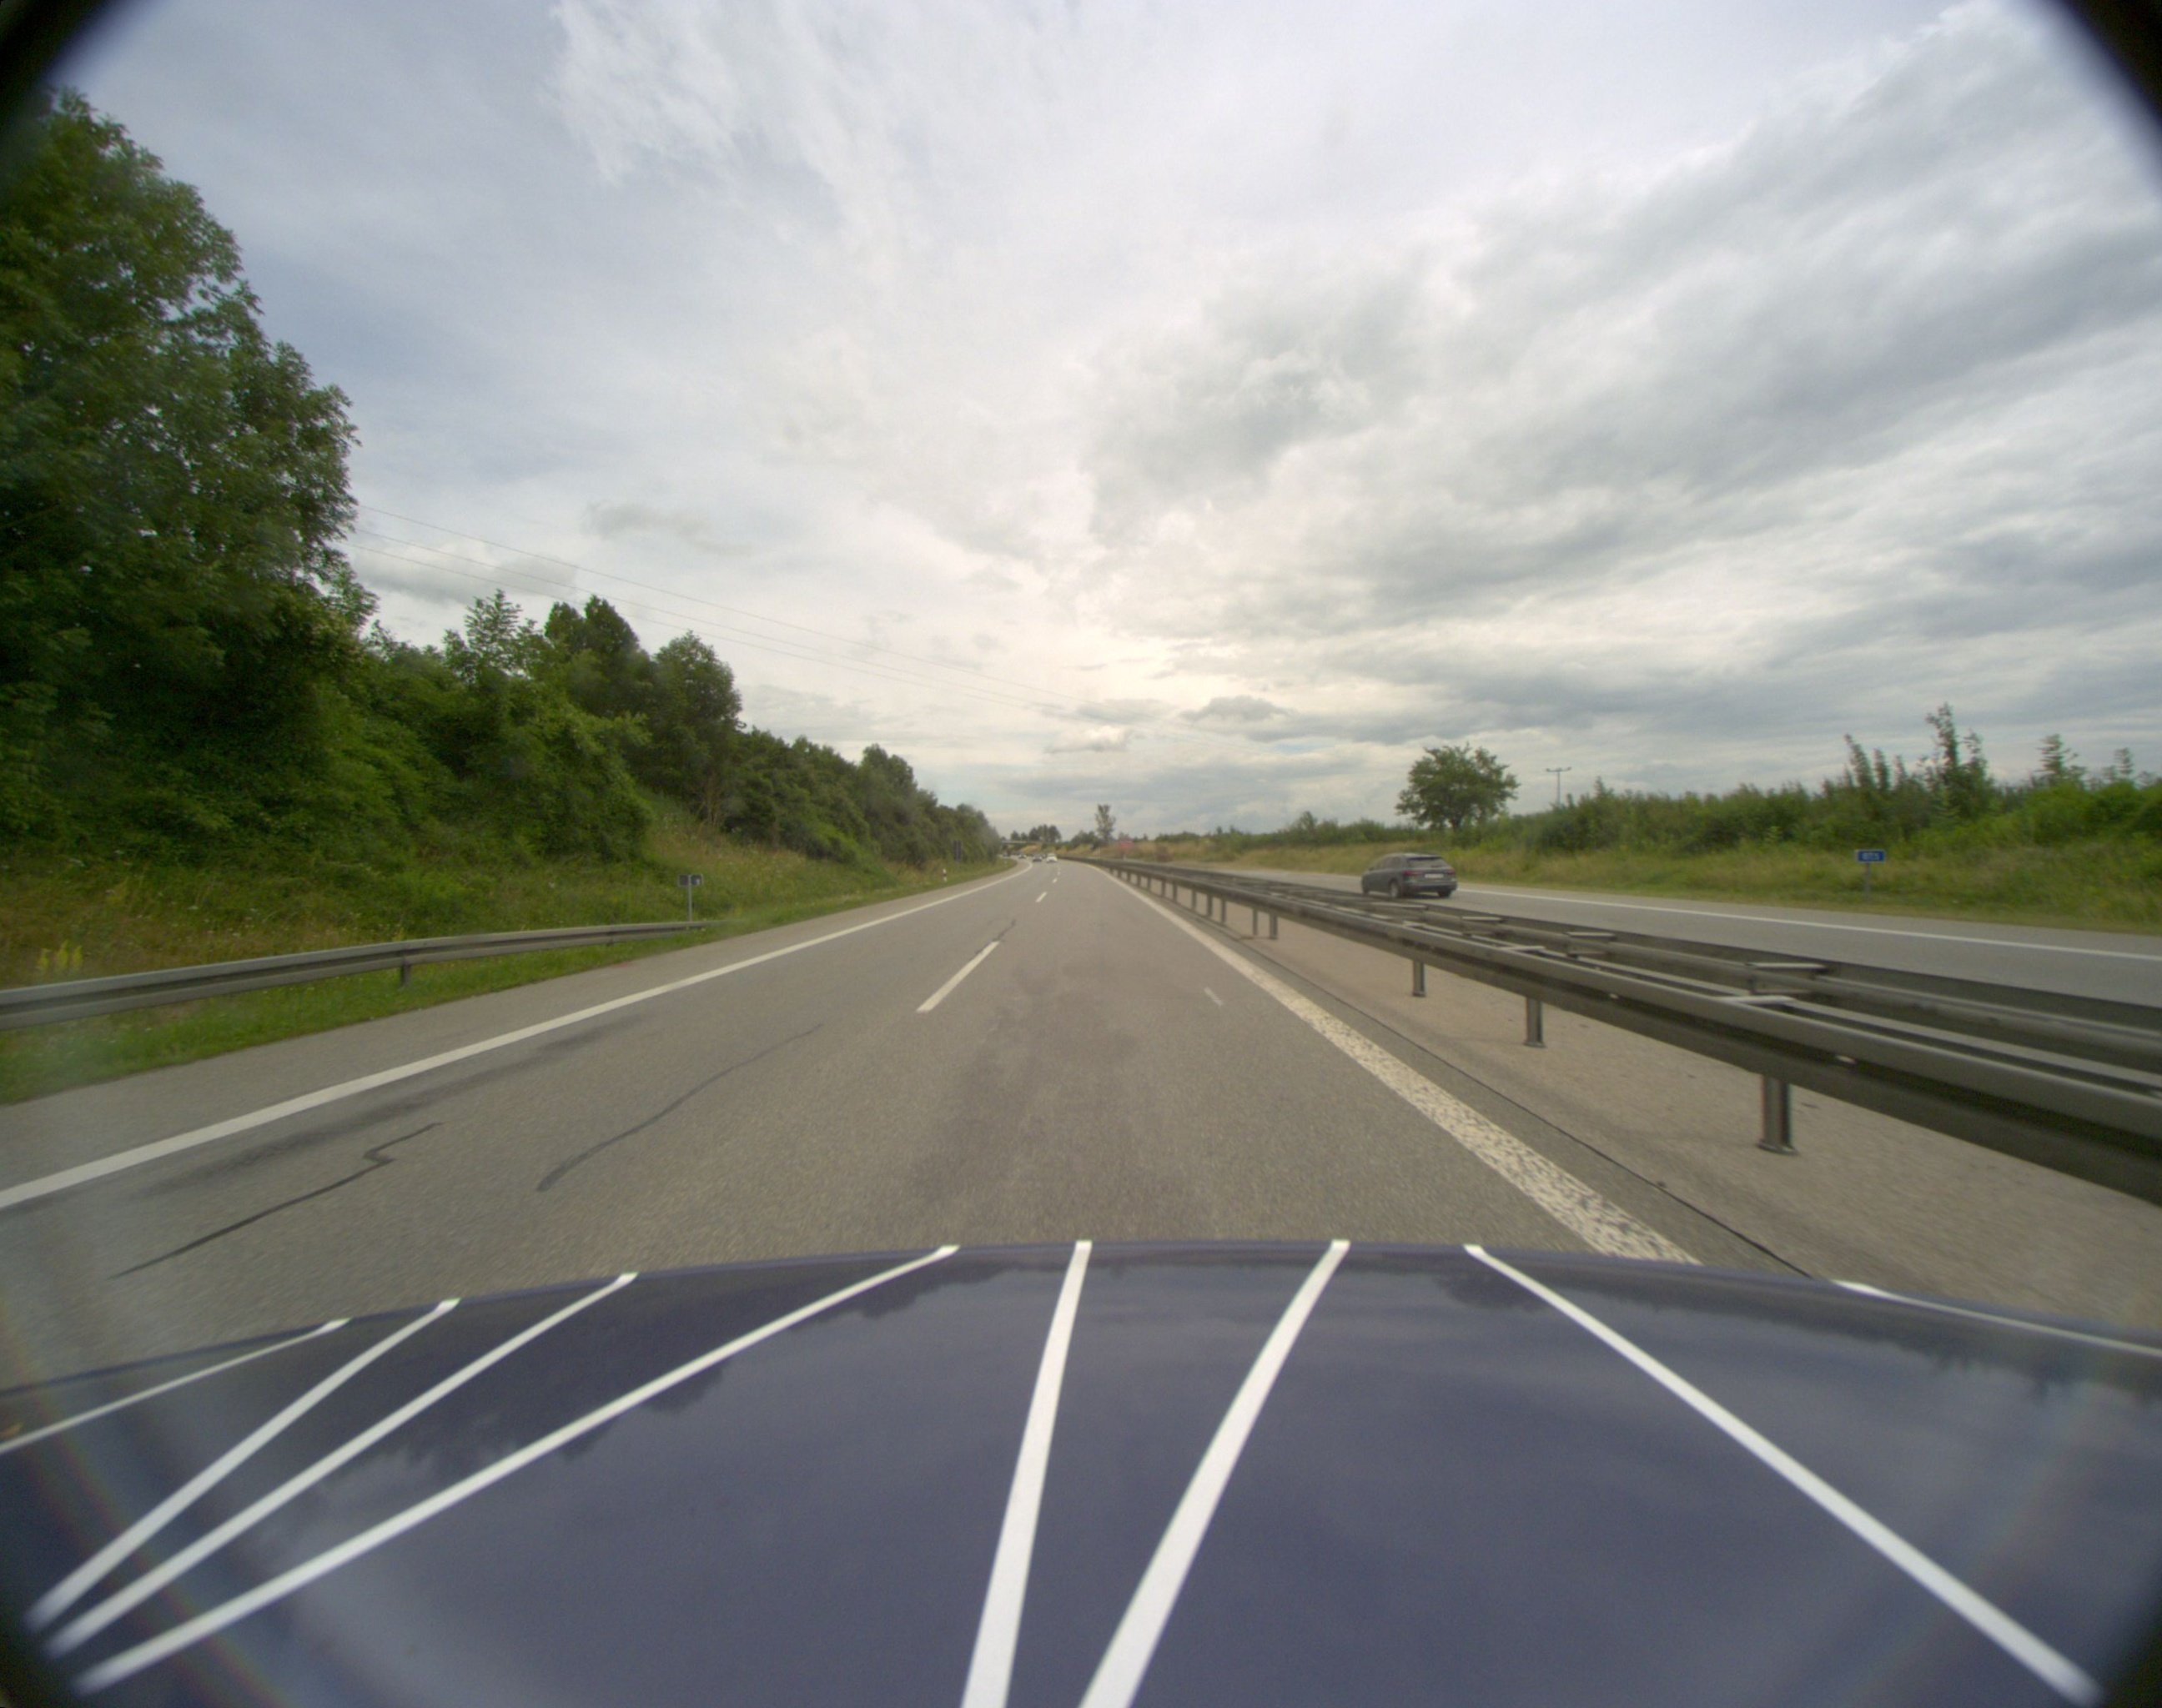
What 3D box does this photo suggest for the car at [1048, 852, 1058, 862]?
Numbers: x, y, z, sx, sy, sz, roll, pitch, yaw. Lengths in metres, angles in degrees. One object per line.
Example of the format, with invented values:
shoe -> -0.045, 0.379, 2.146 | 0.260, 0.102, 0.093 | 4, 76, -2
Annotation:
car -> -4.985, 0.577, 135.231 | 1.775, 1.813, 4.164 | -1, 0, -4

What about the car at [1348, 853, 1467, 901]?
car -> 10.532, 0.673, 24.952 | 1.710, 1.344, 4.938 | -2, 0, 0

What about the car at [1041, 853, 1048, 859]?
car -> -9.911, 0.472, 205.969 | 1.776, 1.474, 4.695 | -1, 1, -4

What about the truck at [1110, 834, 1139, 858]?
truck -> 7.880, -1.501, 140.606 | 3.340, 4.146, 13.670 | -2, 1, -5

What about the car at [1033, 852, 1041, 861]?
car -> -8.913, 0.438, 153.934 | 1.650, 1.686, 4.735 | -1, 0, -4

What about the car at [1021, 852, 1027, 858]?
car -> -16.428, 0.270, 218.929 | 1.509, 1.474, 4.036 | -1, 1, -7
